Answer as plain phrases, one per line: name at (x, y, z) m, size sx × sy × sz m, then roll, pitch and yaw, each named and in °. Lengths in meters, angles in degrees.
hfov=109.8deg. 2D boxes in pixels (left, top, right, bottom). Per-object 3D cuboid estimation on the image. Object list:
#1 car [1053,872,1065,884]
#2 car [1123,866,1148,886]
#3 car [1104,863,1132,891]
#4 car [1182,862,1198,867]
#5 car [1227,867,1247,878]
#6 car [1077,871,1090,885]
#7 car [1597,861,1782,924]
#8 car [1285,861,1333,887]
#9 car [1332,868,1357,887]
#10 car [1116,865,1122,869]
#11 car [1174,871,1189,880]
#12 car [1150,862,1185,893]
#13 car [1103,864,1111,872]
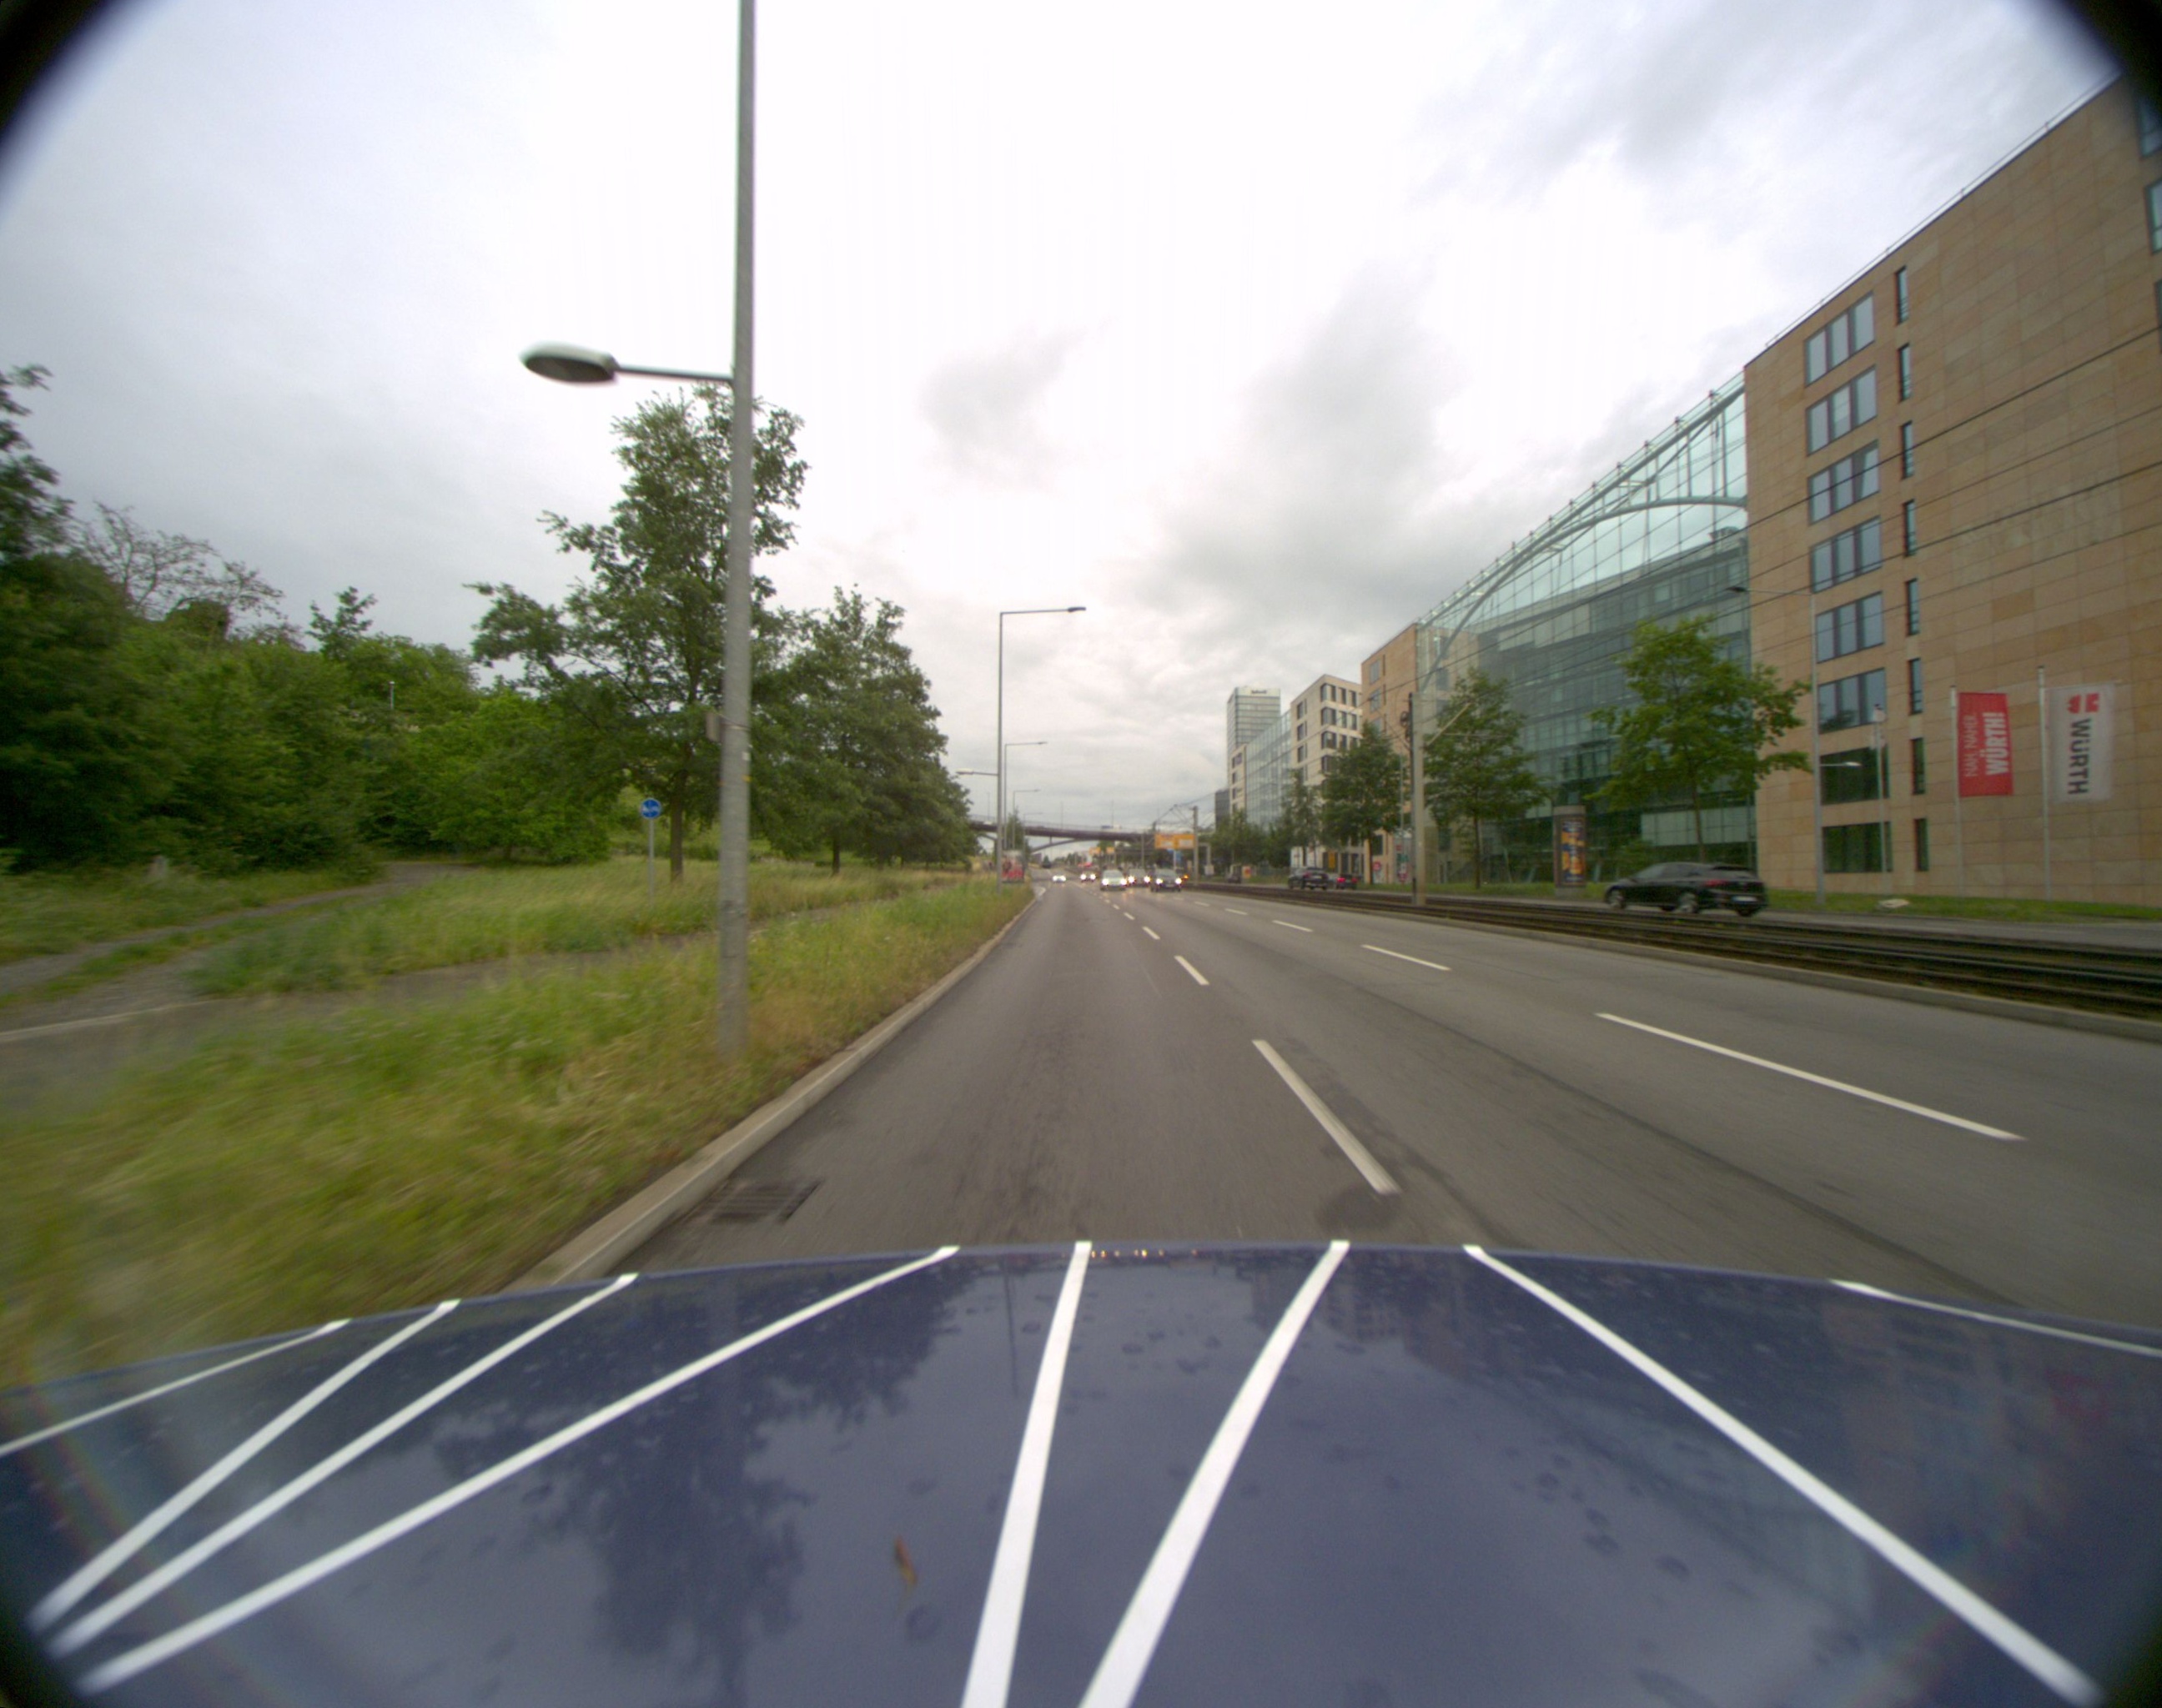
car at (-3.263, 3.622, 114.135) m, size 1.794 × 1.621 × 4.376 m, roll -1°, pitch 1°, yaw -1°
car at (4.842, 1.924, 67.622) m, size 1.794 × 1.535 × 4.376 m, roll -1°, pitch 1°, yaw -1°
car at (2.731, 1.693, 56.926) m, size 1.794 × 1.858 × 4.376 m, roll -1°, pitch 1°, yaw -1°
car at (32.568, 3.176, 227.469) m, size 4.364 × 1.495 × 1.885 m, roll -1°, pitch 1°, yaw 0°
car at (22.423, 2.721, 109.319) m, size 1.846 × 1.477 × 4.430 m, roll 3°, pitch -1°, yaw -1°
car at (0.403, 3.606, 113.665) m, size 1.794 × 1.858 × 4.376 m, roll -1°, pitch 1°, yaw -1°
car at (16.904, 1.001, 21.425) m, size 1.672 × 1.453 × 4.237 m, roll 2°, pitch 1°, yaw -2°
car at (15.856, 1.358, 53.058) m, size 1.810 × 1.607 × 4.384 m, roll -1°, pitch 1°, yaw -3°
car at (22.495, 2.004, 64.955) m, size 1.670 × 1.453 × 4.243 m, roll -1°, pitch 1°, yaw 16°
car at (12.733, 4.399, 254.613) m, size 1.764 × 1.524 × 4.817 m, roll -2°, pitch -1°, yaw -1°
car at (18.123, 3.900, 136.915) m, size 1.846 × 1.477 × 4.654 m, roll 3°, pitch -1°, yaw -1°
car at (5.737, 1.519, 50.772) m, size 1.794 × 1.858 × 4.376 m, roll -1°, pitch 1°, yaw -1°
car at (8.955, 4.722, 262.391) m, size 2.390 × 2.800 × 5.611 m, roll -1°, pitch -1°, yaw -2°
